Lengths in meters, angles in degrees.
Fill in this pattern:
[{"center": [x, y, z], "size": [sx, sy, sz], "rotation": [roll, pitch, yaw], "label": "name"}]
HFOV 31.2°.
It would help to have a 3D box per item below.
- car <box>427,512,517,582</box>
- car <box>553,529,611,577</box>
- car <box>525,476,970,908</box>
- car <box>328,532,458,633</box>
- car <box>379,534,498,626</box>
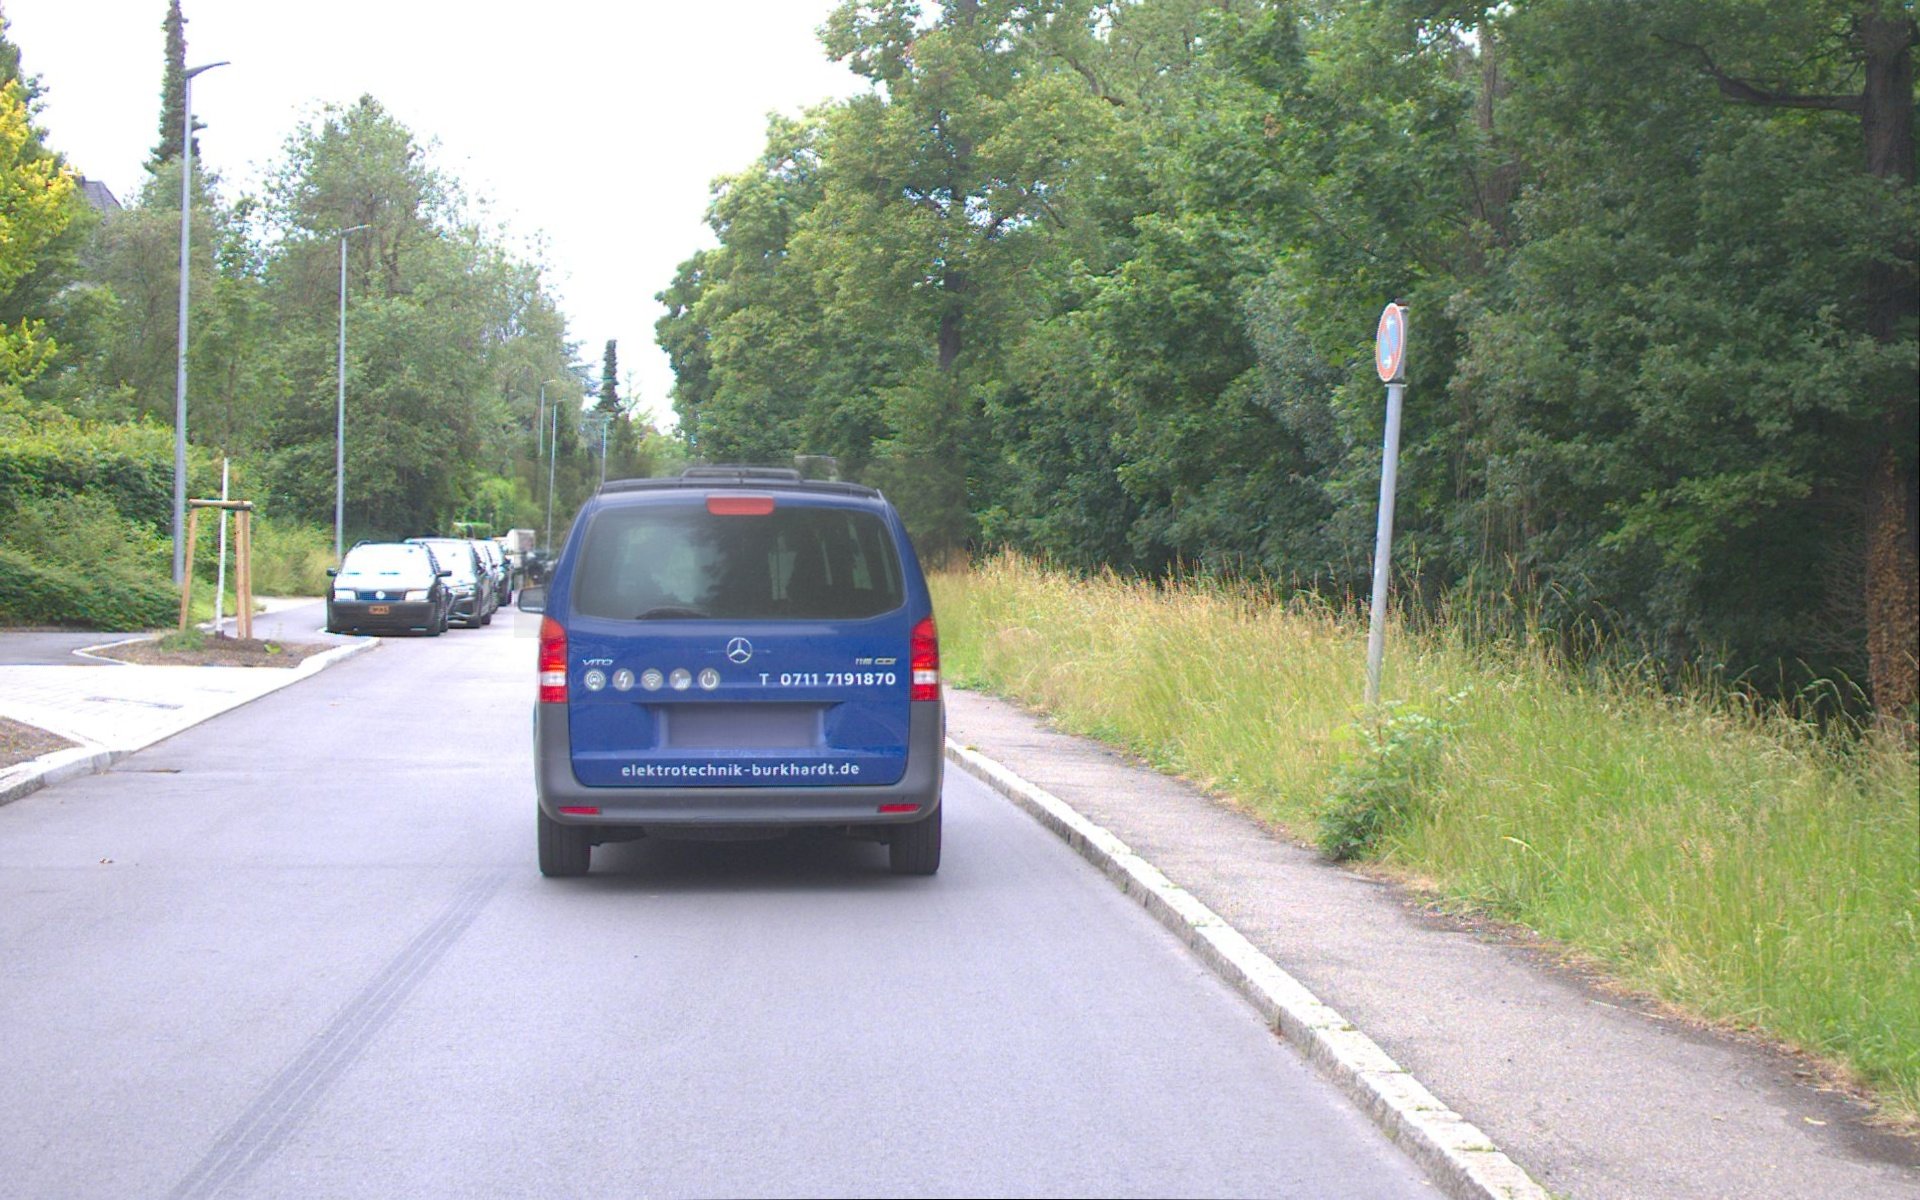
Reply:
[{"center": [-10.757, -1.197, 76.031], "size": [1.778, 1.427, 5.107], "rotation": [1, 2, -6], "label": "car"}, {"center": [-12.002, -1.508, 109.162], "size": [1.780, 1.421, 4.491], "rotation": [1, 2, -6], "label": "car"}, {"center": [-1.122, 0.338, 16.931], "size": [1.888, 1.837, 4.001], "rotation": [1, 2, -6], "label": "car"}, {"center": [-8.948, -0.307, 54.542], "size": [1.682, 1.477, 4.694], "rotation": [0, 2, -5], "label": "car"}, {"center": [-8.983, -0.371, 59.528], "size": [1.706, 1.477, 4.496], "rotation": [0, 2, -4], "label": "car"}]
